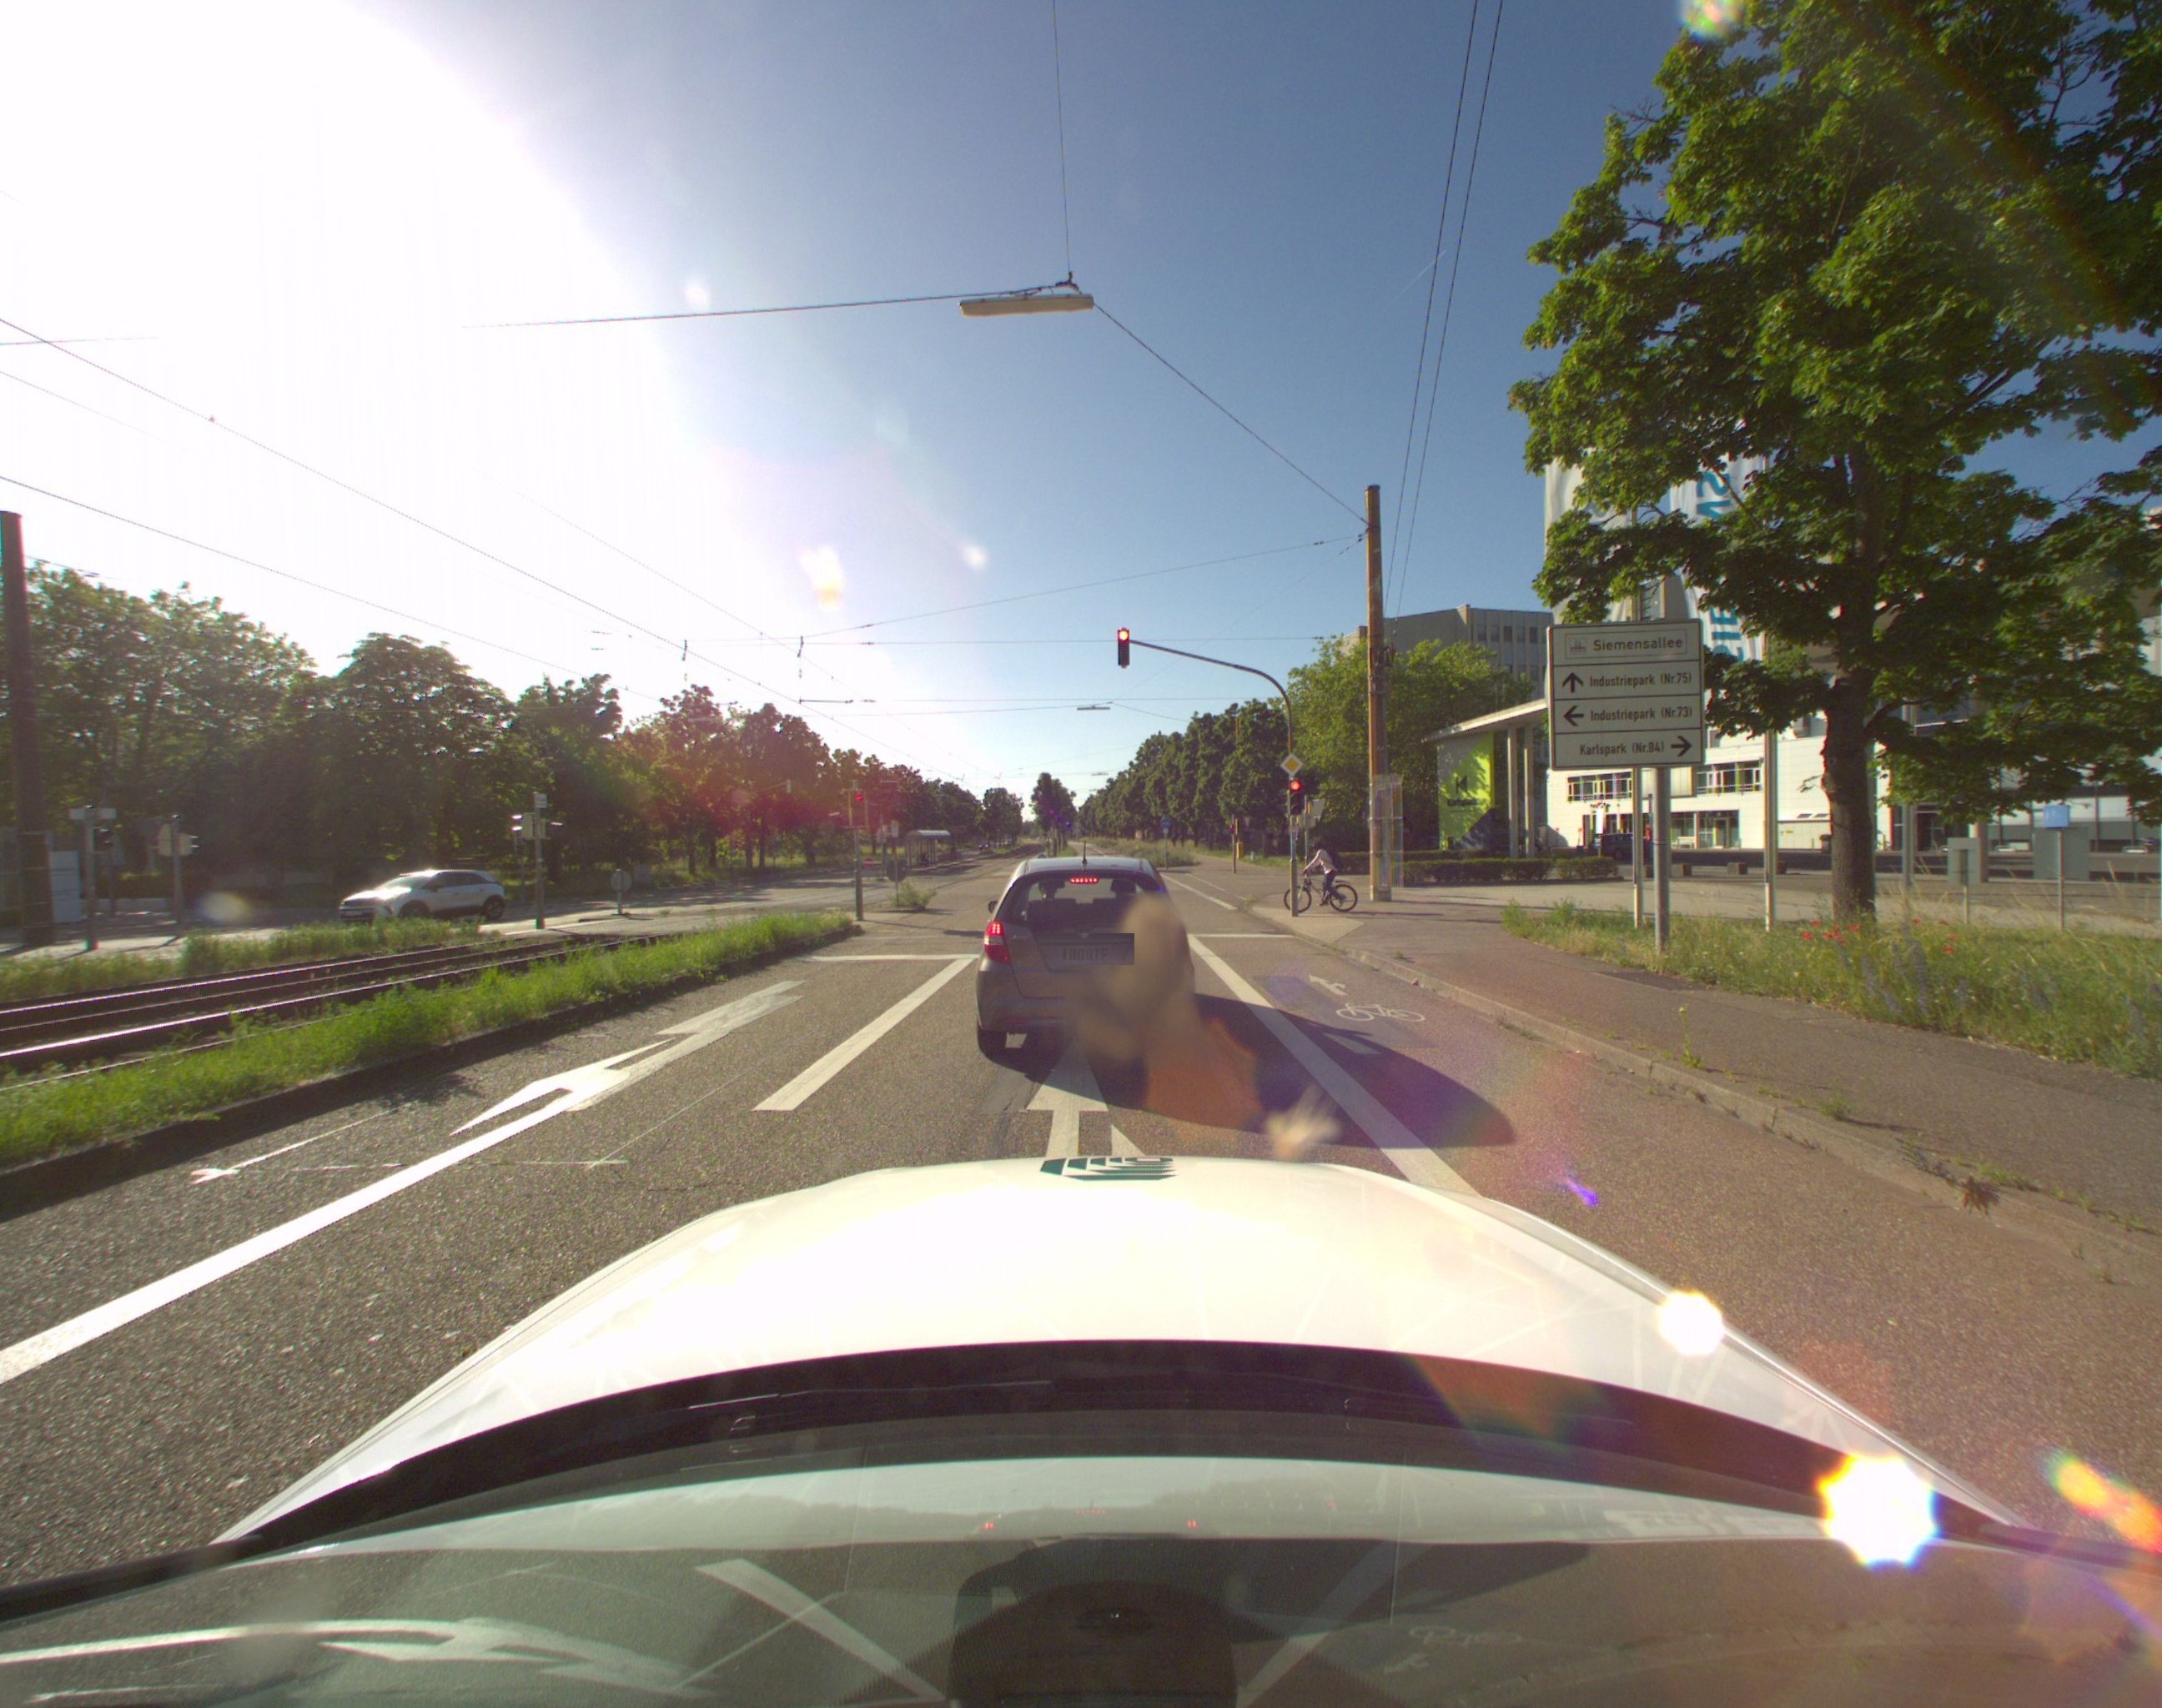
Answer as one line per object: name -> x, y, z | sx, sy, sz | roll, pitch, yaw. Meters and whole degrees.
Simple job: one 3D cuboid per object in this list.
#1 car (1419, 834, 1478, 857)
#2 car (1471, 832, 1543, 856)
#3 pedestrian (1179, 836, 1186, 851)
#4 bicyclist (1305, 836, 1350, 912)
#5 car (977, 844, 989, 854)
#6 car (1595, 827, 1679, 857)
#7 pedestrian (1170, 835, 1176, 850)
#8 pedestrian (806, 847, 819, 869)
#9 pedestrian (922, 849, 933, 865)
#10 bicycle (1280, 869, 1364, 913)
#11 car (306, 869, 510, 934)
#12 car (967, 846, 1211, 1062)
car -> 30.088, -0.709, 66.753 | 3.989, 1.757, 1.993 | -1, 0, -11
car -> 31.211, -0.744, 59.705 | 4.538, 1.629, 1.869 | -1, 0, -11
pedestrian -> 10.924, -1.152, 87.376 | 0.676, 1.610, 0.720 | 0, 0, -1
bicyclist -> 5.922, 0.476, 19.608 | 0.904, 1.745, 0.767 | -3, -1, 12
car -> -18.870, -0.952, 156.610 | 1.761, 1.738, 3.999 | -1, 0, 0
car -> 33.735, -0.702, 49.448 | 3.984, 1.720, 1.895 | -1, 0, -8
pedestrian -> 9.851, -1.232, 87.362 | 0.565, 1.596, 0.665 | 0, 0, -2
pedestrian -> -24.255, 0.345, 73.571 | 0.837, 2.013, 0.863 | -1, 0, 0
pedestrian -> -12.463, 0.235, 66.108 | 0.718, 1.246, 0.710 | -2, 0, 0
bicycle -> 5.779, 0.880, 19.640 | 1.907, 0.998, 0.767 | 0, 0, 12
car -> -19.046, 1.281, 23.327 | 1.839, 1.606, 4.268 | -1, 0, 11
car -> 0.140, 0.703, 7.732 | 1.700, 1.509, 4.002 | -1, 0, 2
